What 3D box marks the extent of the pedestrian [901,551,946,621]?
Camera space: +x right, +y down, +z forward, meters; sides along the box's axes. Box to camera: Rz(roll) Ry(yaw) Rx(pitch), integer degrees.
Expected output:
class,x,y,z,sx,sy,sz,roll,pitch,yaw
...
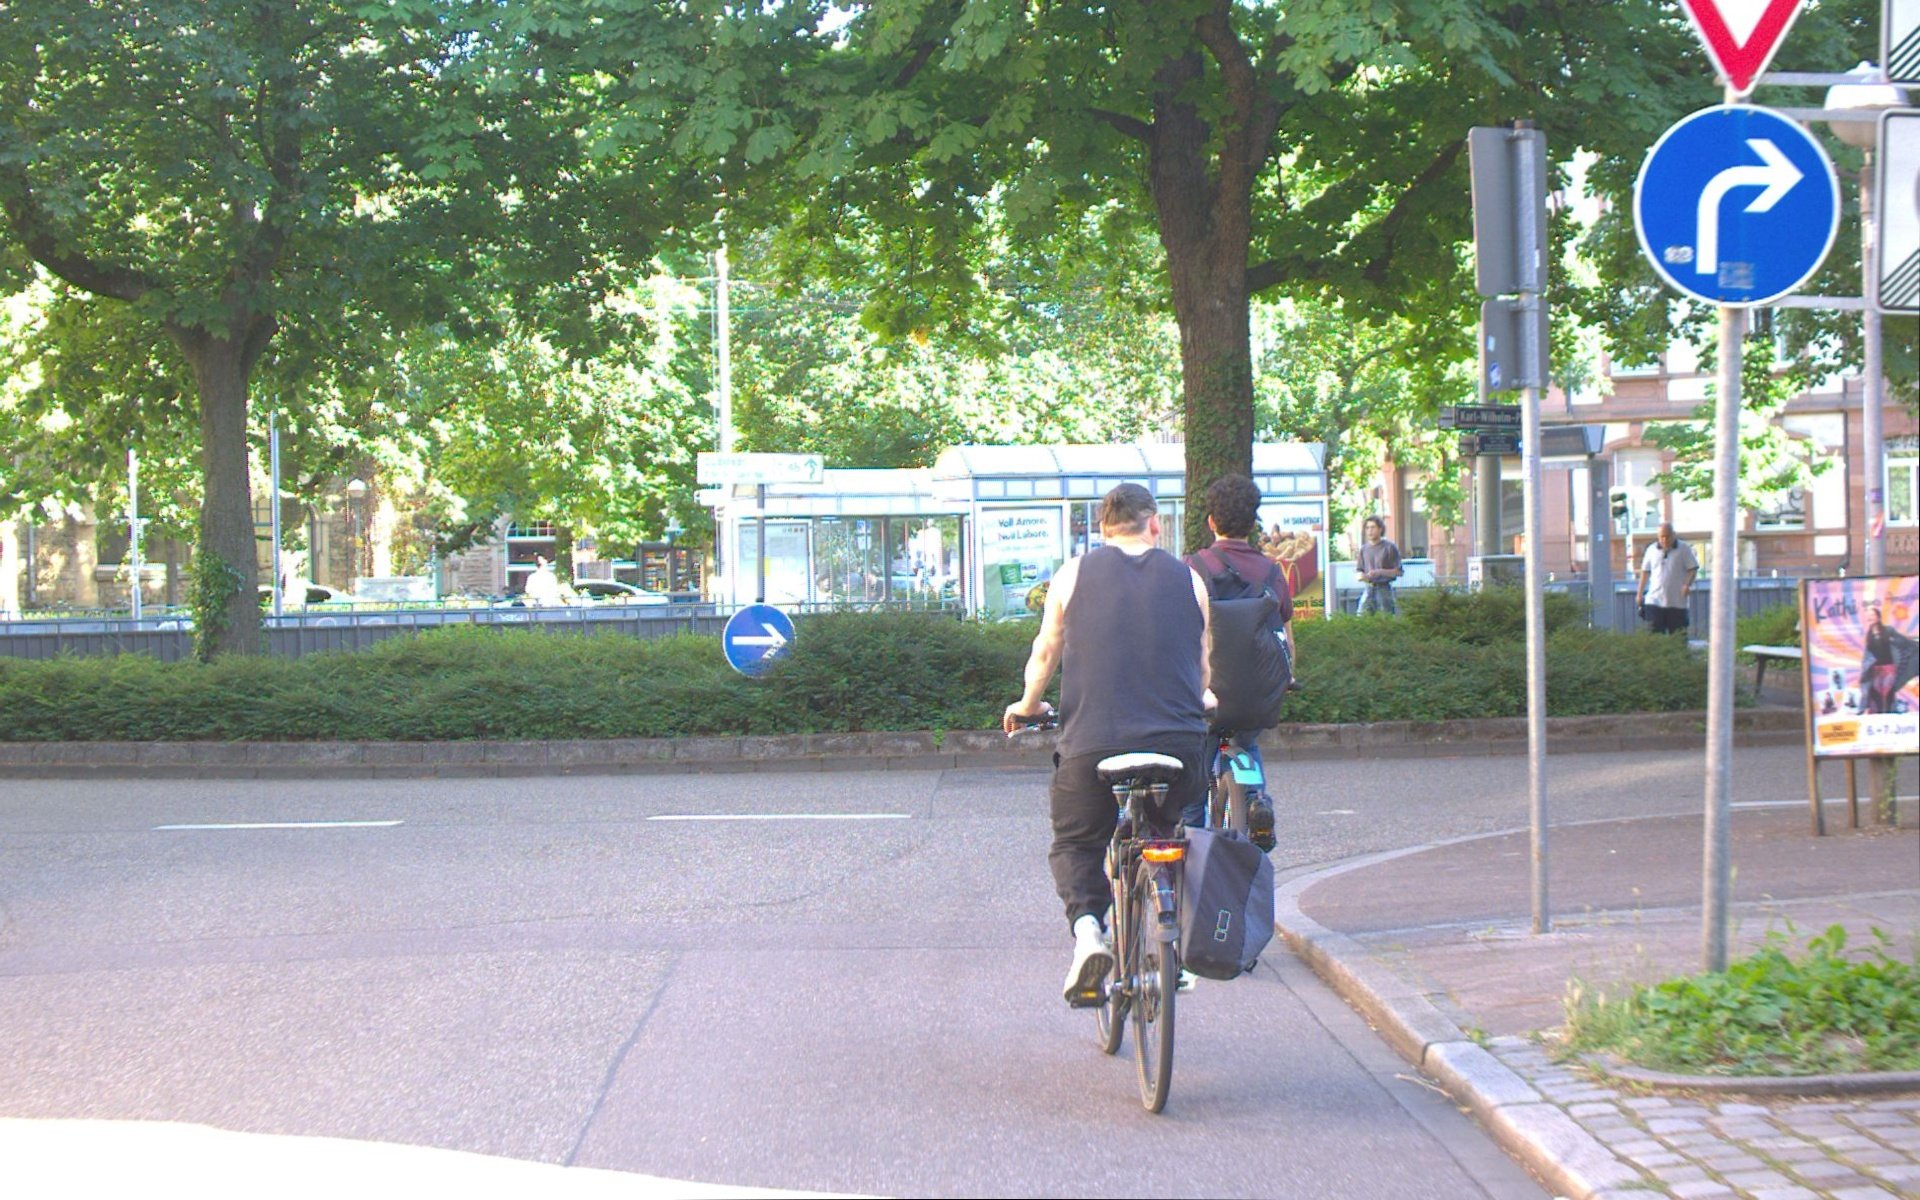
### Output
class,x,y,z,sx,sy,sz,roll,pitch,yaw
pedestrian,-0.858,-0.332,80.771,1.000,1.625,1.064,-1,1,-2

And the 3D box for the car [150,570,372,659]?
class,x,y,z,sx,sy,sz,roll,pitch,yaw
car,-14.107,0.272,69.516,3.938,1.673,1.953,-2,1,-44

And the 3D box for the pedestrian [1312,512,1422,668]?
class,x,y,z,sx,sy,sz,roll,pitch,yaw
pedestrian,4.452,-0.107,37.611,0.898,1.678,0.818,-1,1,33

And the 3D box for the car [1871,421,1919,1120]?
class,x,y,z,sx,sy,sz,roll,pitch,yaw
car,4.435,0.359,7.755,4.105,1.707,2.024,-2,2,-5

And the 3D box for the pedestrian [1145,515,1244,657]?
class,x,y,z,sx,sy,sz,roll,pitch,yaw
pedestrian,3.174,-0.198,46.528,1.016,1.891,0.912,-1,1,-23

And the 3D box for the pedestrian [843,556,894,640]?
class,x,y,z,sx,sy,sz,roll,pitch,yaw
pedestrian,-1.723,-0.042,64.593,0.809,1.538,0.821,1,0,-12

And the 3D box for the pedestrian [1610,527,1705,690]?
class,x,y,z,sx,sy,sz,roll,pitch,yaw
pedestrian,7.335,0.083,36.169,0.916,1.678,0.780,-1,1,9

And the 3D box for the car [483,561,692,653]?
class,x,y,z,sx,sy,sz,roll,pitch,yaw
car,-7.992,0.131,73.714,3.986,1.864,2.000,-1,1,-26

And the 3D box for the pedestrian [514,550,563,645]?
class,x,y,z,sx,sy,sz,roll,pitch,yaw
pedestrian,-7.603,-0.050,61.987,0.701,1.689,0.671,1,0,-22

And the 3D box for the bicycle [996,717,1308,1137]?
class,x,y,z,sx,sy,sz,roll,pitch,yaw
bicycle,0.510,0.887,9.982,0.737,1.008,2.061,1,0,-1

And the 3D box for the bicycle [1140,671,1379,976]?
class,x,y,z,sx,sy,sz,roll,pitch,yaw
bicycle,1.115,0.812,13.207,0.674,1.050,2.061,-1,-1,-1

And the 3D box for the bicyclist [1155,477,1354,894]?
class,x,y,z,sx,sy,sz,roll,pitch,yaw
bicyclist,1.104,0.314,13.074,0.671,1.509,1.069,-1,0,2

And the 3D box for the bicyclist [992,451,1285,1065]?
class,x,y,z,sx,sy,sz,roll,pitch,yaw
bicyclist,0.497,0.430,9.920,0.752,1.676,0.913,-1,1,-1
